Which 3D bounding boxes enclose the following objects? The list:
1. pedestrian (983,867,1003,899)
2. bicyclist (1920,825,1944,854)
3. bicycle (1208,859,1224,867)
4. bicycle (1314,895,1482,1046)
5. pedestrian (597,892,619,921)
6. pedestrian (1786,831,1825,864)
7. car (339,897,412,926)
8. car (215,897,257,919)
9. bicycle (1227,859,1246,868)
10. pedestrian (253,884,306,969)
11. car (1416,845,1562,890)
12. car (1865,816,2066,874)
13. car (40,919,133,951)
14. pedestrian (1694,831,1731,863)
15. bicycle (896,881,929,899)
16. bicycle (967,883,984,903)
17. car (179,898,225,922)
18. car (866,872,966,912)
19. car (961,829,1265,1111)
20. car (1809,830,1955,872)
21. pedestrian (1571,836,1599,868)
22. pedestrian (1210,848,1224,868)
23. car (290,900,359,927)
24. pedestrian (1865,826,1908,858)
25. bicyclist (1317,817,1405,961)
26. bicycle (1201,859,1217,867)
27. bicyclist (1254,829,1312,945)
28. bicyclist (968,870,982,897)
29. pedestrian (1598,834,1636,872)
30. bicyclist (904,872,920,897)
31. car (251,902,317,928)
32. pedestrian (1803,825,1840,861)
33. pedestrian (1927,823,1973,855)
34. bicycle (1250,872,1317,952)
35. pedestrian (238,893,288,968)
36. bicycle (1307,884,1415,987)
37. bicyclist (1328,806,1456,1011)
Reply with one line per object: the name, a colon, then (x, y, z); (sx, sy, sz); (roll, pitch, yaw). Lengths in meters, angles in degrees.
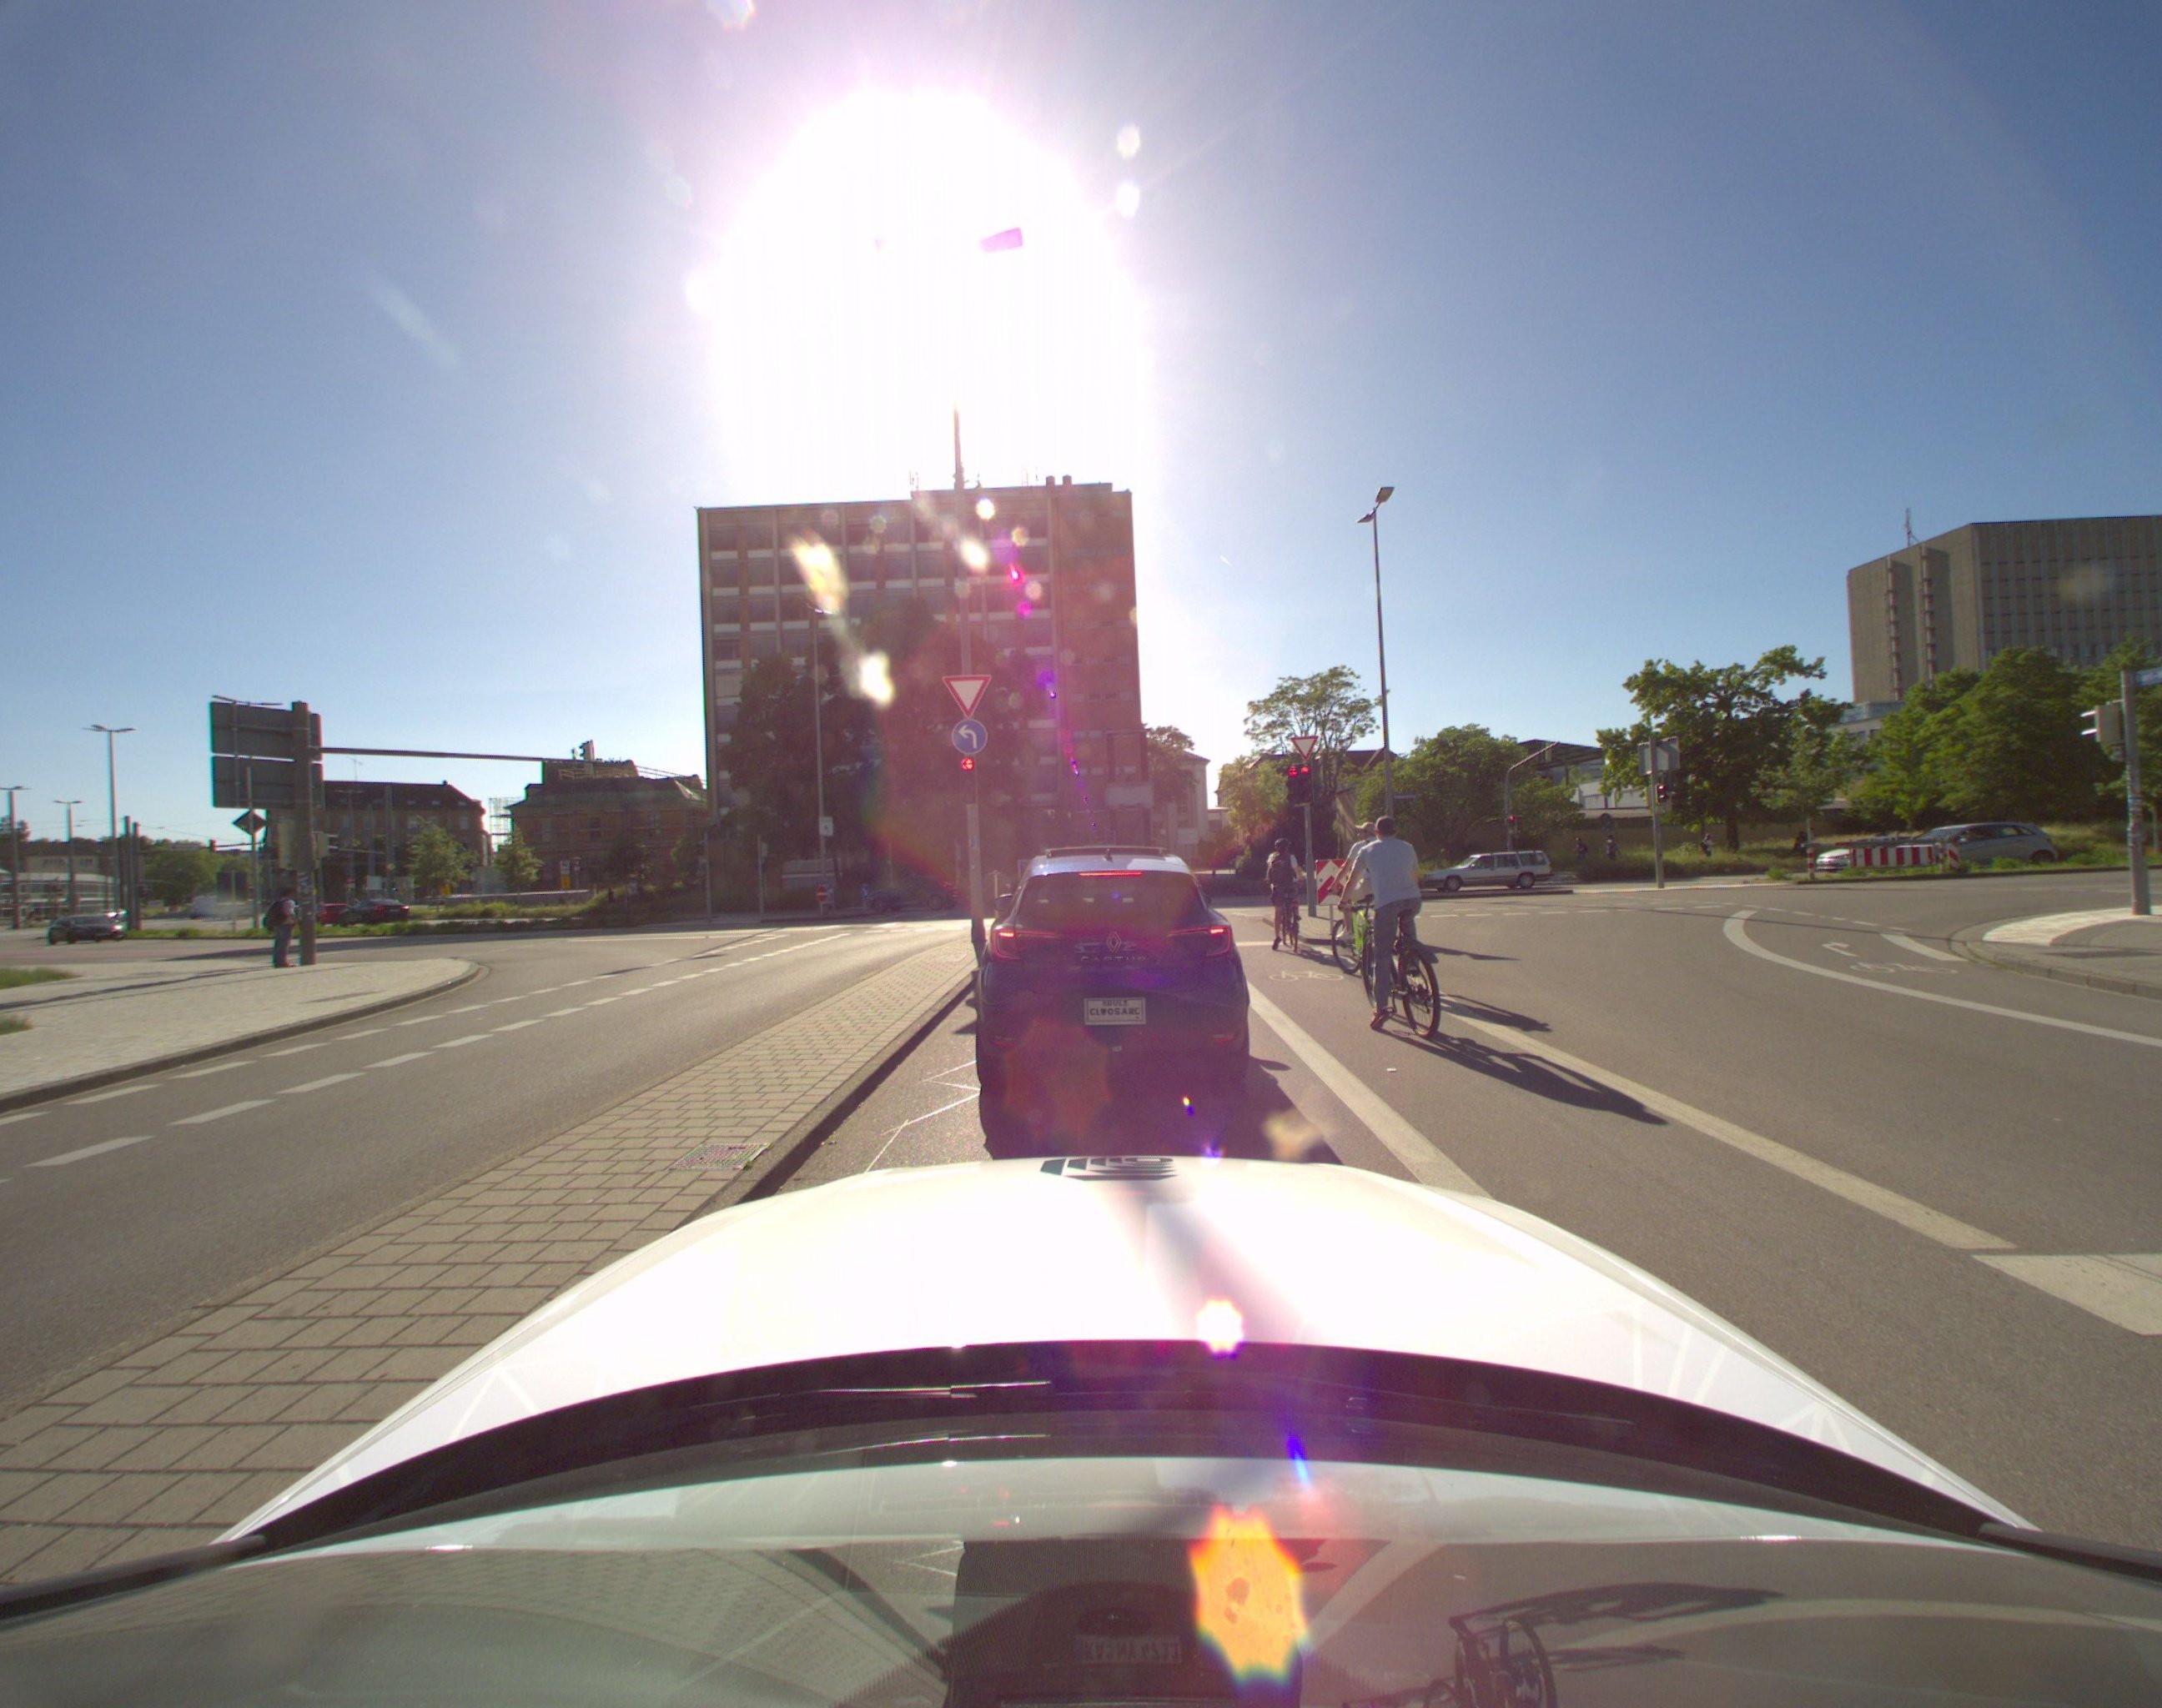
pedestrian: (-5.262, 1.743, 48.636); (0.926, 1.855, 0.809); (-3, -1, 11)
bicyclist: (39.886, -0.673, 38.172); (0.517, 1.368, 0.578); (-2, -1, 12)
bicycle: (15.702, 1.063, 94.644); (1.764, 0.898, 0.766); (-2, -1, 2)
bicycle: (2.746, 0.956, 7.307); (0.745, 1.050, 1.903); (-3, 0, 1)
pedestrian: (-34.317, 3.789, 59.057); (0.816, 2.013, 1.021); (-3, -1, 27)
pedestrian: (35.425, -0.316, 39.837); (1.069, 1.521, 0.880); (-2, -1, 6)
car: (-42.386, 3.460, 48.907); (3.771, 1.518, 2.012); (-3, -1, 27)
car: (-85.756, 5.447, 82.636); (4.950, 2.013, 2.086); (-3, -1, 34)
bicycle: (15.811, 0.953, 82.833); (1.770, 0.823, 0.763); (-2, -1, -9)
pedestrian: (-18.160, 1.631, 18.453); (0.673, 1.855, 0.608); (-3, -1, 25)
car: (16.320, 0.541, 32.797); (4.835, 1.593, 1.943); (-3, -1, 8)
car: (28.303, -0.263, 26.201); (4.103, 1.606, 1.915); (-2, 0, 7)
car: (-51.382, 4.191, 42.096); (3.951, 1.389, 2.011); (-4, -1, 23)
pedestrian: (31.425, -0.348, 40.536); (1.078, 1.521, 0.933); (-2, -1, 11)
bicycle: (-9.877, 2.116, 47.629); (1.848, 0.958, 0.627); (-3, -1, 26)
bicycle: (-5.751, 2.134, 44.209); (0.699, 1.007, 1.859); (-3, -3, -13)
car: (-102.264, 6.452, 94.691); (6.867, 2.547, 3.032); (-3, -1, 38)
car: (-7.414, 1.711, 36.755); (3.959, 1.570, 1.842); (-3, -1, 13)
car: (0.223, 0.688, 6.786); (1.788, 1.655, 3.853); (-1, 0, 1)
car: (32.833, -0.097, 33.497); (3.932, 1.491, 1.815); (-2, -2, 8)
pedestrian: (26.103, -0.099, 42.153); (0.974, 1.604, 0.830); (-3, -1, 15)
pedestrian: (13.649, 0.414, 81.579); (1.152, 2.013, 1.165); (-2, -1, 2)
car: (-47.960, 3.787, 51.641); (3.771, 1.518, 2.012); (-3, -1, 27)
pedestrian: (40.056, -0.598, 40.530); (1.140, 1.521, 0.944); (-2, -1, 7)
bicyclist: (3.255, 0.388, 9.555); (0.672, 1.583, 1.081); (0, 0, 1)
bicycle: (15.558, 1.118, 99.015); (1.764, 0.893, 0.766); (-2, -1, 2)
bicyclist: (3.220, 0.519, 13.061); (0.674, 1.785, 0.939); (-1, -1, 0)
bicyclist: (-5.757, 1.598, 44.121); (0.648, 1.412, 0.635); (-2, -3, -14)
pedestrian: (27.147, -0.039, 41.240); (1.288, 1.855, 0.969); (-3, -1, 13)
bicyclist: (-9.887, 1.766, 47.633); (0.631, 1.412, 0.653); (-3, -1, 25)
car: (-53.579, 4.096, 54.756); (3.771, 1.518, 2.012); (-3, -1, 27)
pedestrian: (36.830, -0.546, 40.523); (0.958, 1.732, 0.927); (-2, -1, 4)
pedestrian: (42.349, -0.724, 39.714); (1.123, 1.521, 0.992); (-2, -1, 5)
bicycle: (3.207, 0.883, 13.047); (0.613, 1.138, 1.826); (-2, 0, 0)
pedestrian: (-19.253, 1.789, 19.168); (0.627, 1.697, 0.608); (-3, -1, 25)
bicycle: (3.263, 0.907, 9.679); (0.669, 1.050, 1.844); (0, 0, 1)
bicyclist: (2.727, 0.456, 7.234); (0.737, 1.674, 0.865); (-2, -1, 0)
